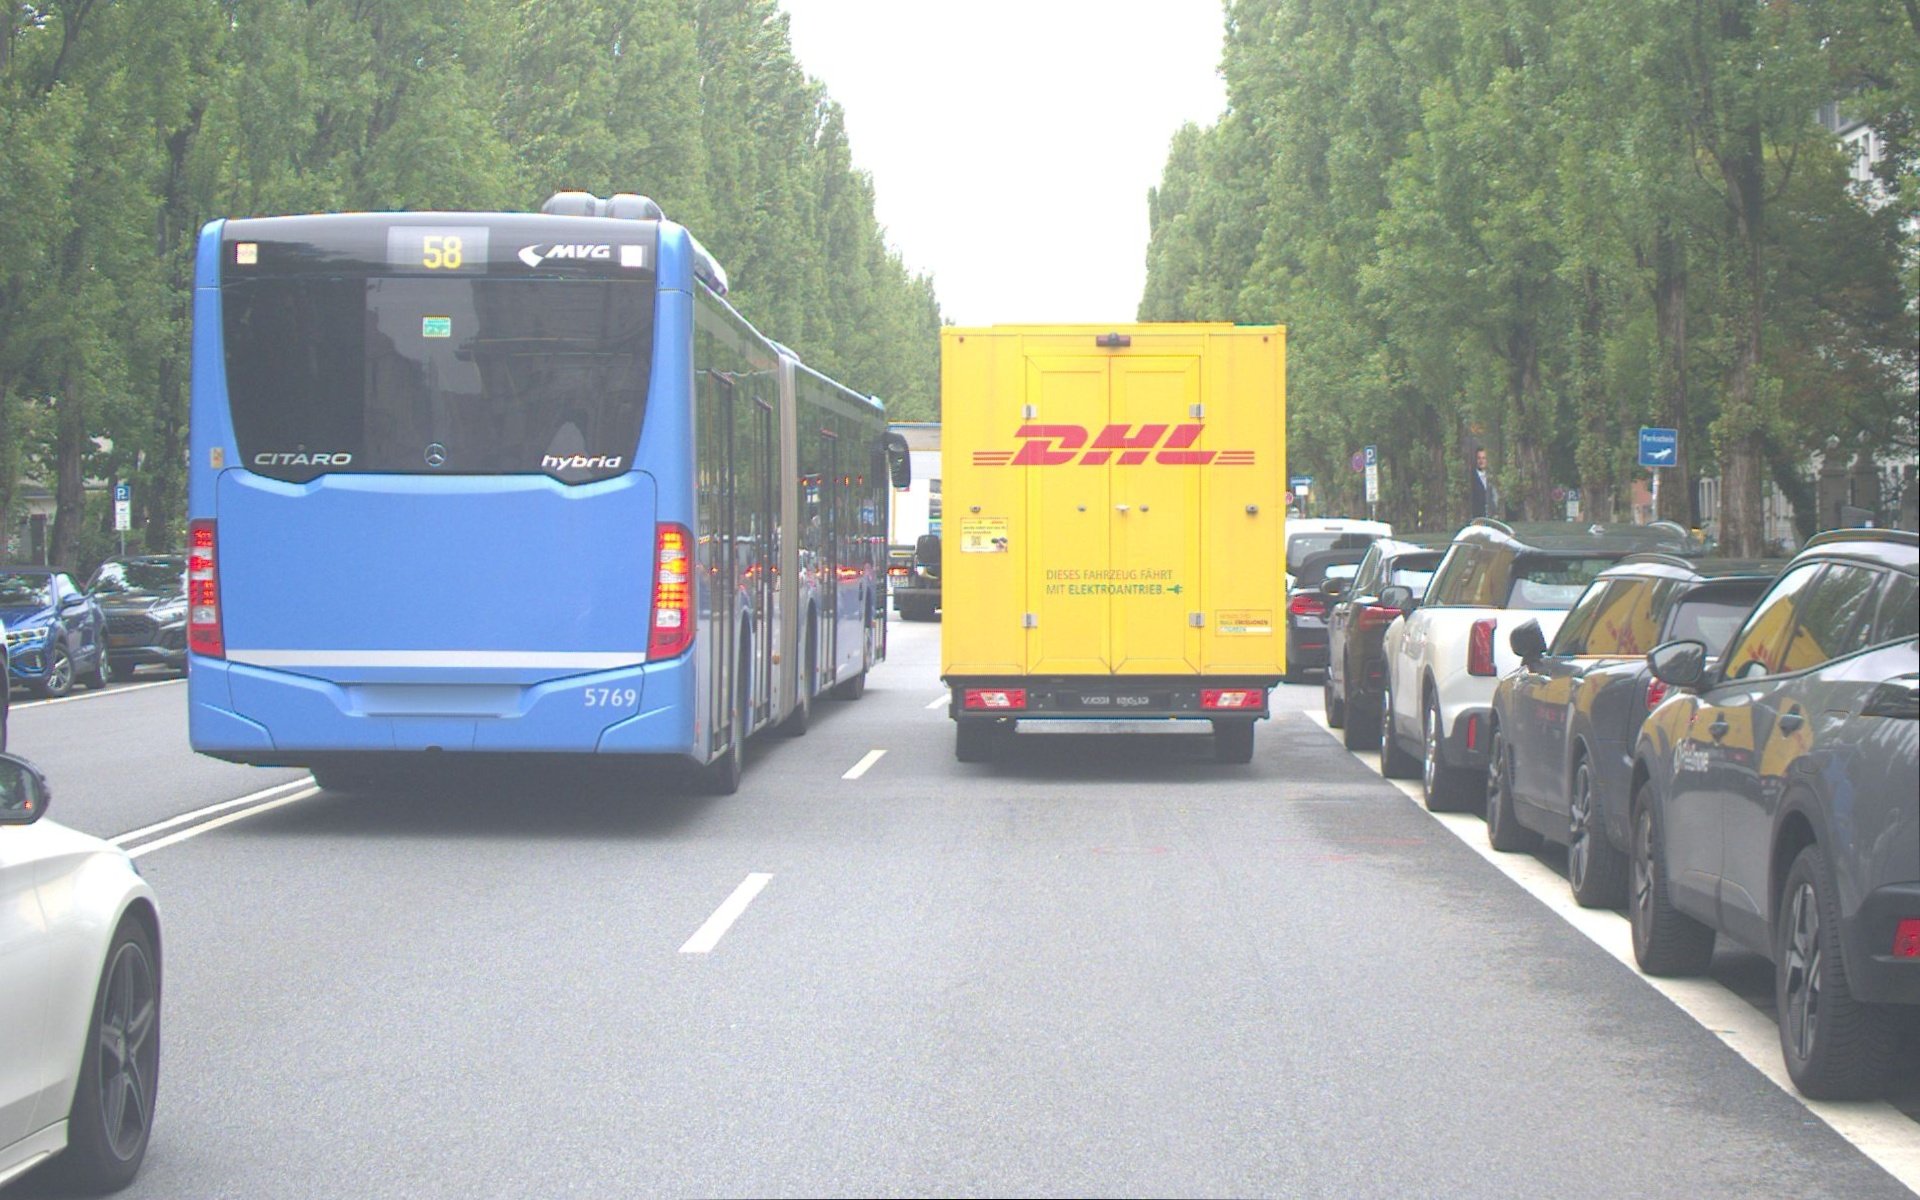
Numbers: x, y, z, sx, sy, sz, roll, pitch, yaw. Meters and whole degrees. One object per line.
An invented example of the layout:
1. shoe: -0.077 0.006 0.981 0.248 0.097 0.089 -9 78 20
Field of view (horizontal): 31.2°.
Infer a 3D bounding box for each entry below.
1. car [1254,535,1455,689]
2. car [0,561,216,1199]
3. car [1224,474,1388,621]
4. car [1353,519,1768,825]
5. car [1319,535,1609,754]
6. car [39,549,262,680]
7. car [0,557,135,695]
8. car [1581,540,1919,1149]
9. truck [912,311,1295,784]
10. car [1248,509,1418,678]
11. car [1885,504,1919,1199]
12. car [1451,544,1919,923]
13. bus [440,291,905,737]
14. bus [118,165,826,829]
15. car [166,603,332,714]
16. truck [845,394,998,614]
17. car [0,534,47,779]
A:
1. car: 4.177 0.085 36.912 1.863 1.546 4.000 -1 1 3
2. car: -2.819 0.664 6.140 1.826 1.449 4.582 0 1 2
3. car: 5.048 -0.799 50.792 2.053 2.007 5.692 -1 1 2
4. car: 3.399 0.341 20.194 1.781 1.576 4.147 1 1 1
5. car: 3.692 0.269 25.804 1.725 1.490 4.324 -1 1 3
6. car: -10.756 0.156 45.971 1.791 1.542 4.338 -4 1 1
7. car: -11.051 0.286 40.688 1.743 1.513 4.119 -3 1 -3
8. car: 3.051 0.571 10.510 1.651 1.498 4.114 0 1 2
9. truck: 0.976 -0.385 24.858 2.327 2.888 7.333 -1 1 1
10. car: 4.545 -0.112 42.413 1.806 1.969 4.236 0 1 3
11. car: 2.830 0.628 5.196 1.821 1.585 4.223 0 1 2
12. car: 3.292 0.492 15.505 1.633 1.441 4.148 1 1 1
13. bus: -2.228 -0.729 30.558 2.872 3.292 9.789 -1 1 2
14. bus: -2.544 -0.587 21.207 2.856 3.202 9.060 0 1 1
15. car: -10.623 0.849 51.585 1.539 1.428 3.869 -4 1 1
16. truck: -0.714 -1.839 67.334 2.716 3.951 9.218 -1 1 0
17. car: -7.407 0.434 22.155 1.785 1.650 4.113 -2 1 2
